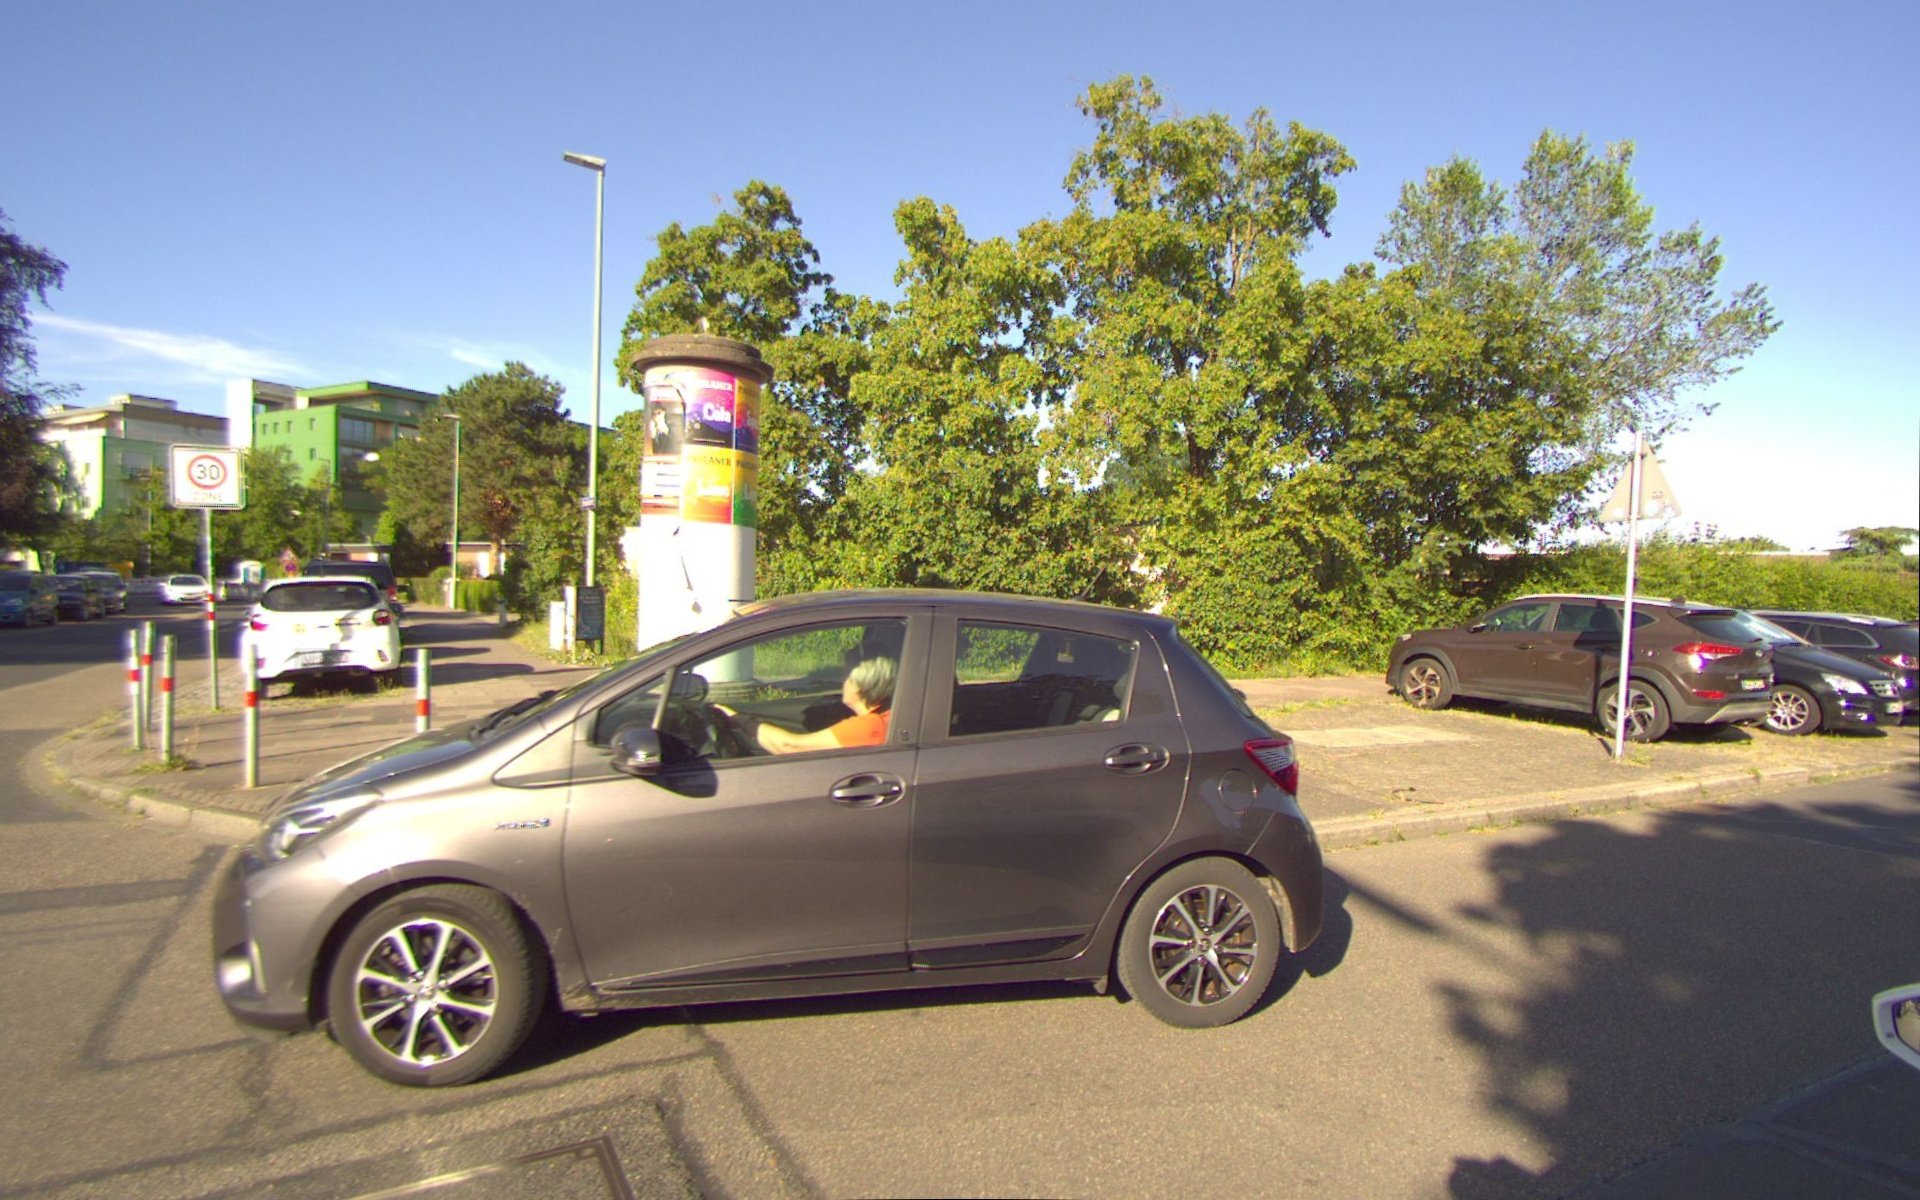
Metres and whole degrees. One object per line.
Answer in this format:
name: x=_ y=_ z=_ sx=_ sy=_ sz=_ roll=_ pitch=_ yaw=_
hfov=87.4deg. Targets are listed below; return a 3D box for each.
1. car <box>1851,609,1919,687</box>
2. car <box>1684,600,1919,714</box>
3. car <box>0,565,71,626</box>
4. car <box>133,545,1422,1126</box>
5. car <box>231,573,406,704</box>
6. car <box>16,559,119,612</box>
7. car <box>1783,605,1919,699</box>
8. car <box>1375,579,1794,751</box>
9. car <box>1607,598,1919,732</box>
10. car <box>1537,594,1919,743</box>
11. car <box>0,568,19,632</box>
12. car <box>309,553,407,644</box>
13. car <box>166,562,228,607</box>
car: x=20.625 y=1.073 z=19.572 sx=1.726 sy=1.499 sz=4.523 roll=1 pitch=3 yaw=-29
car: x=14.565 y=0.901 z=16.383 sx=1.884 sy=1.533 sz=3.998 roll=2 pitch=2 yaw=-31
car: x=-26.105 y=-0.122 z=27.600 sx=1.727 sy=1.563 sz=4.065 roll=2 pitch=-1 yaw=-31
car: x=-0.462 y=0.711 z=3.955 sx=3.932 sy=1.576 sz=1.651 roll=2 pitch=-1 yaw=-12
car: x=-8.637 y=0.397 z=13.685 sx=1.718 sy=1.482 sz=3.500 roll=-3 pitch=3 yaw=-31
car: x=-28.706 y=-0.421 z=32.426 sx=1.727 sy=1.563 sz=4.065 roll=2 pitch=-1 yaw=-31
car: x=17.297 y=0.967 z=17.639 sx=1.769 sy=1.499 sz=3.968 roll=1 pitch=3 yaw=-29
car: x=7.795 y=0.691 z=12.985 sx=1.826 sy=1.678 sz=4.164 roll=2 pitch=2 yaw=-31
car: x=12.419 y=0.880 z=15.116 sx=1.792 sy=1.533 sz=4.071 roll=2 pitch=2 yaw=-31
car: x=10.569 y=0.827 z=13.971 sx=1.811 sy=1.553 sz=3.966 roll=2 pitch=2 yaw=-31
car: x=-23.982 y=-0.033 z=23.704 sx=1.727 sy=1.563 sz=4.065 roll=2 pitch=-1 yaw=-31
car: x=-13.767 y=-0.079 z=23.006 sx=1.718 sy=1.880 sz=4.307 roll=-2 pitch=2 yaw=-31
car: x=-37.335 y=-0.756 z=49.243 sx=1.977 sy=2.040 sz=3.966 roll=1 pitch=0 yaw=-31
